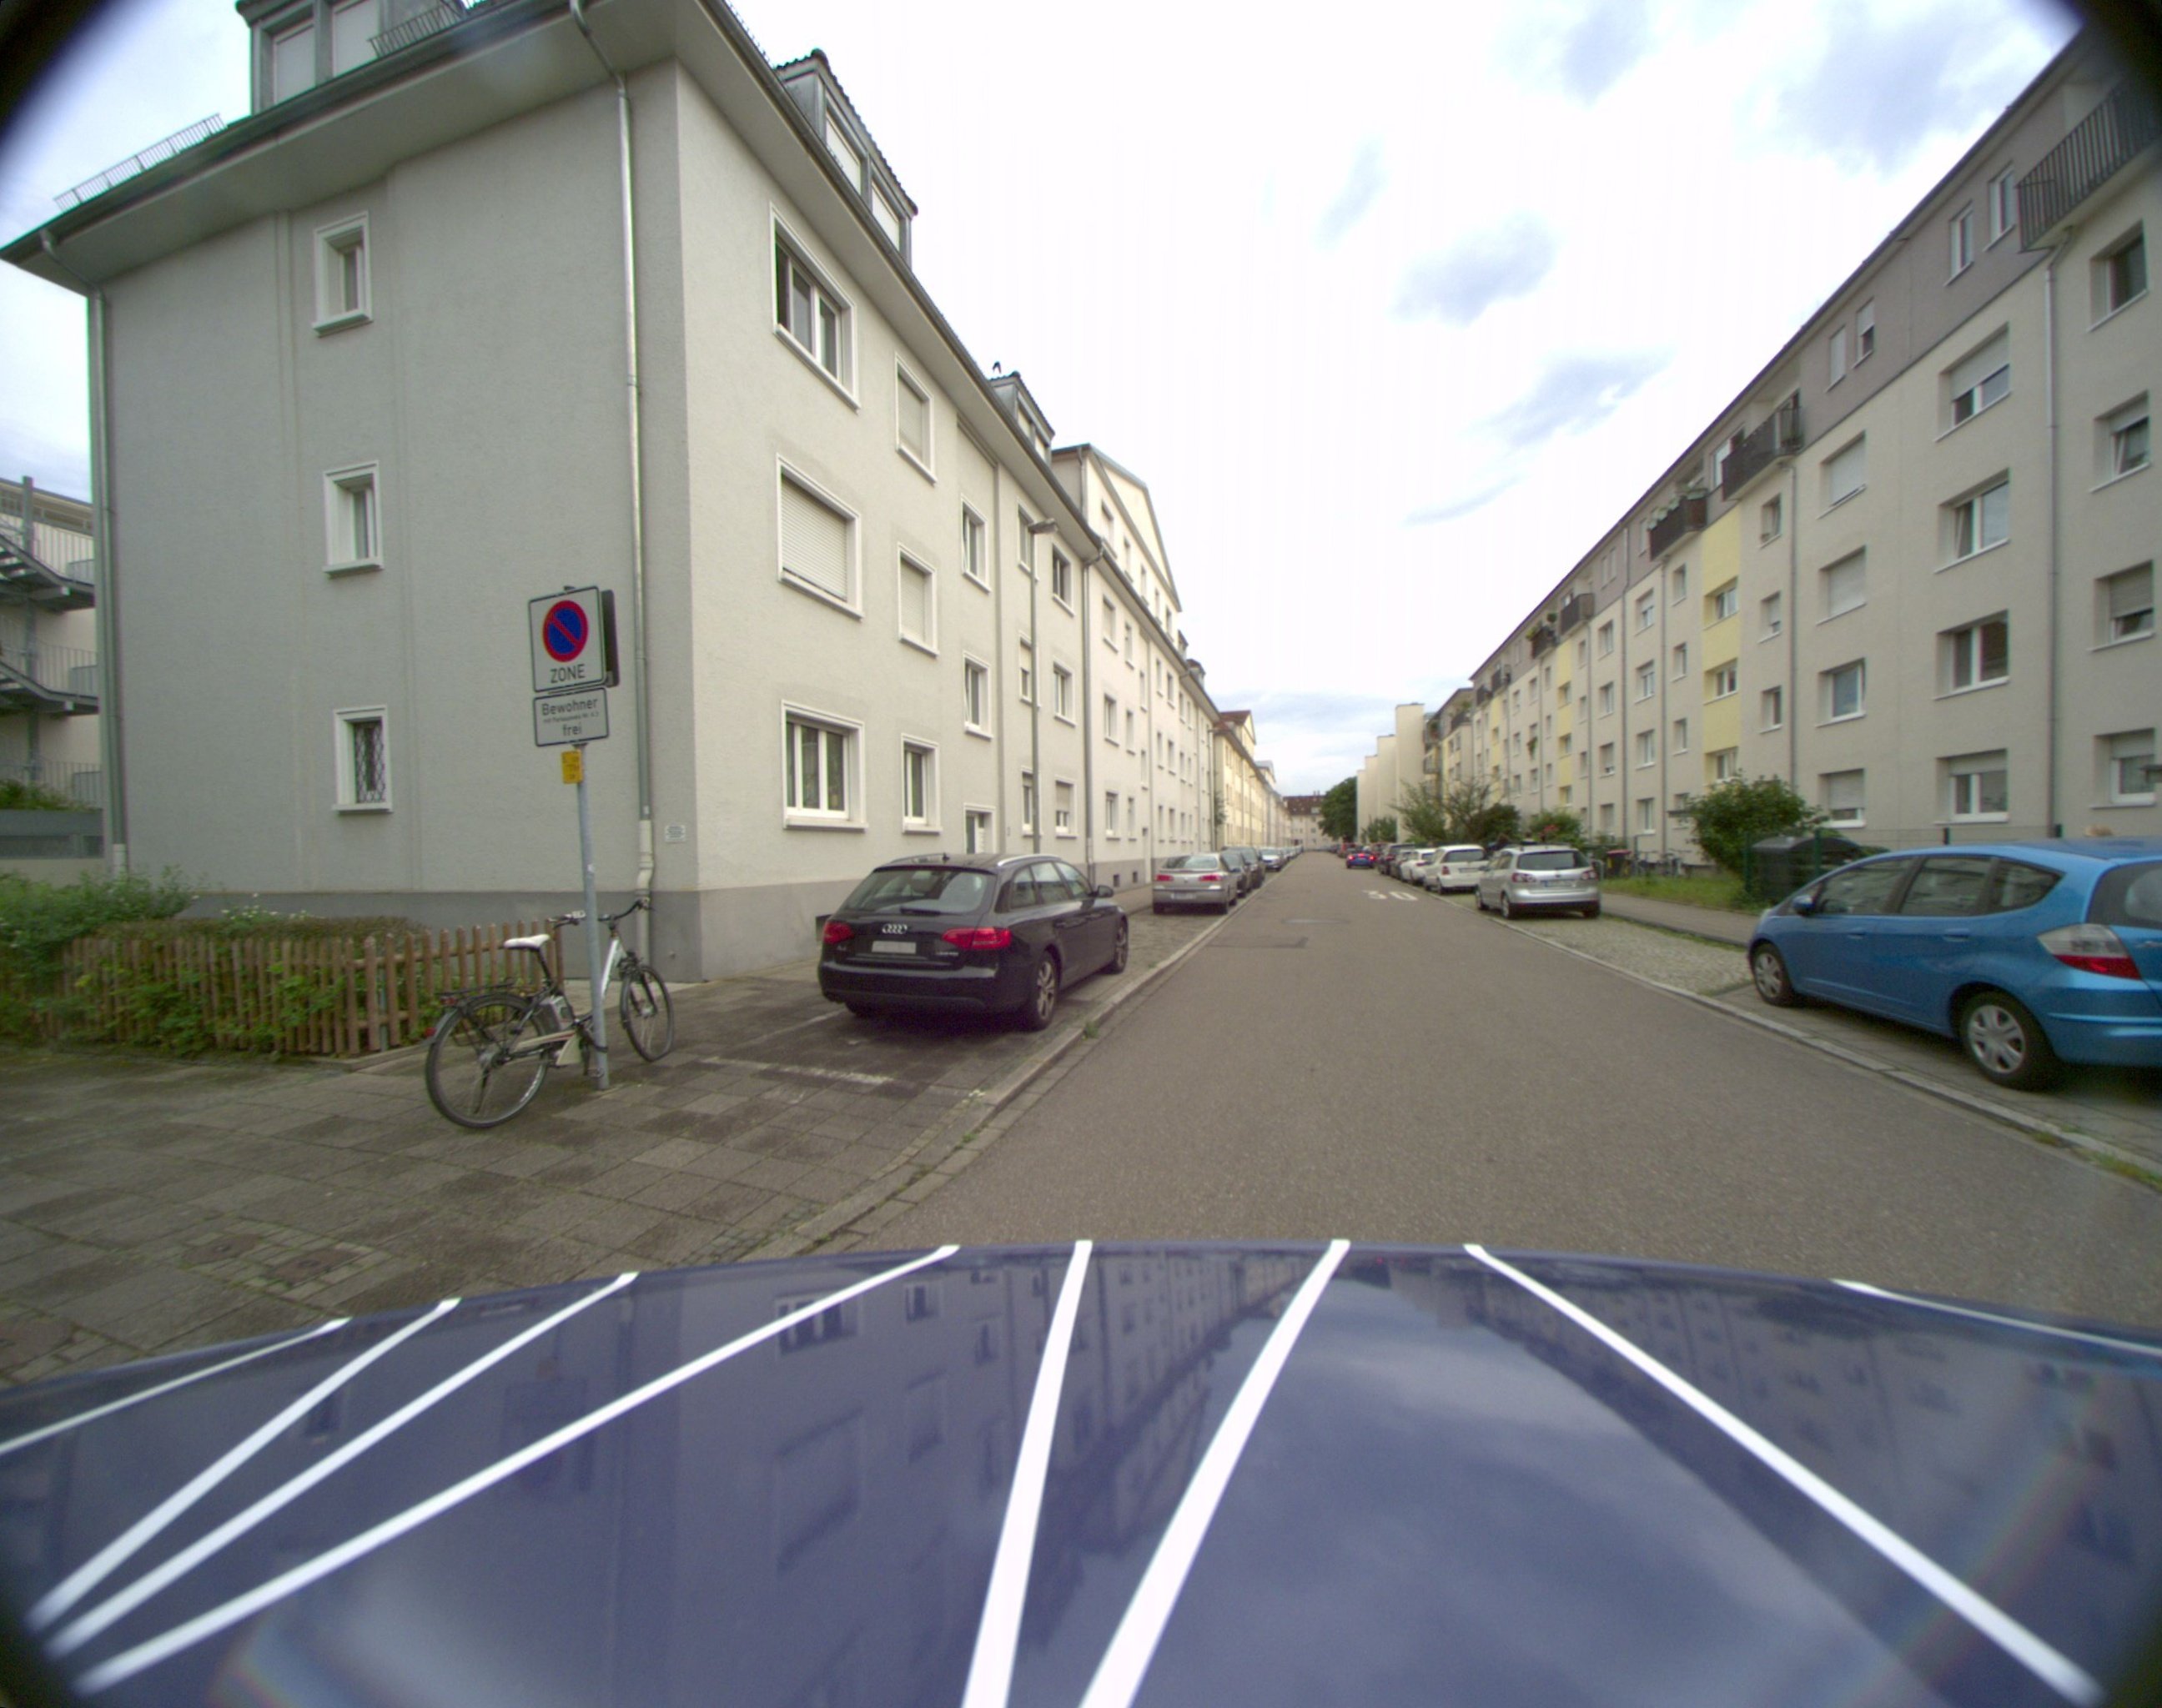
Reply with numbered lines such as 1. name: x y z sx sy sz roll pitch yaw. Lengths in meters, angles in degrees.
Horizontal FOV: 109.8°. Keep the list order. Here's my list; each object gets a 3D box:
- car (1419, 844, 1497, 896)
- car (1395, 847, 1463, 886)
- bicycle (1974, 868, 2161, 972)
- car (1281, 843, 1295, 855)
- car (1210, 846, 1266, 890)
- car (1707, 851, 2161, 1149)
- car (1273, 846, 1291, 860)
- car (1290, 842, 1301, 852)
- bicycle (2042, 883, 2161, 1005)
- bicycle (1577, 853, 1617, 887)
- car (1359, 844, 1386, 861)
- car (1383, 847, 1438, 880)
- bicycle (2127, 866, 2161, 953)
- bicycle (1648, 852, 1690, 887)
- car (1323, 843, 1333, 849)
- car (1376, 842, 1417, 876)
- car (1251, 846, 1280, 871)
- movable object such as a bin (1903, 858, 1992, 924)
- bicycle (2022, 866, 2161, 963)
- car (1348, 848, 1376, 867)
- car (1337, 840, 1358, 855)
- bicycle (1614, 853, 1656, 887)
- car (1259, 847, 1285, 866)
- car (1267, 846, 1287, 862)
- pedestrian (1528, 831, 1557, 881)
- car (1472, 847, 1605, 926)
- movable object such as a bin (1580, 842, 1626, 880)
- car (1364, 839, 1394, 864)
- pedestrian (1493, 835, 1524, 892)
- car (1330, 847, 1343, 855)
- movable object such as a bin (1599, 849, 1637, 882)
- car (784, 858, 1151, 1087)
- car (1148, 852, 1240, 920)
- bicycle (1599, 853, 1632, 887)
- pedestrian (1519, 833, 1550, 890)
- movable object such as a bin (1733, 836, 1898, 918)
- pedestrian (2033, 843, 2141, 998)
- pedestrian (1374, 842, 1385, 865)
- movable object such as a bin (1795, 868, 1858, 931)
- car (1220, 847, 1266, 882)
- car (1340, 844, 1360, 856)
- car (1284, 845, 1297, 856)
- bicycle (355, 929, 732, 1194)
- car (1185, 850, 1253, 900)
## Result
1. car: 12.735 0.497 25.861 1.687 1.629 3.731 -1 1 16
2. car: 14.209 0.472 31.276 1.720 1.501 4.692 -1 0 14
3. bicycle: 11.962 0.723 9.073 0.658 1.062 2.124 -1 0 18
4. car: 25.849 -0.586 94.821 1.735 1.443 4.222 0 0 15
5. car: 6.214 0.487 29.760 1.850 1.589 4.164 0 0 15
6. car: 6.748 0.764 5.691 1.733 1.454 3.961 -3 0 17
7. car: 20.242 -0.100 76.461 1.735 1.363 4.222 0 0 15
8. car: 37.278 -1.159 131.967 1.735 1.670 3.596 0 1 15
9. bicycle: 10.666 0.874 7.550 0.536 1.113 1.821 -1 0 22
10. bicycle: 16.305 0.482 24.049 0.488 1.018 1.881 -1 1 17
11. car: 24.685 -0.119 64.467 1.704 1.436 3.546 -1 0 14
12. car: 15.631 0.410 36.267 1.727 1.445 4.487 -1 1 14
13. bicycle: 13.499 0.695 8.681 0.658 1.064 2.178 -1 0 18
14. bicycle: 18.025 0.459 23.307 0.420 1.018 1.561 -1 1 14
15. car: 61.008 -1.961 187.748 1.743 1.534 3.641 -1 0 11
16. car: 17.377 0.246 42.043 1.573 1.769 4.457 -1 0 16
17. car: 12.125 0.251 49.770 1.735 1.538 3.681 0 1 15
18. movable object such as a bin: 15.105 0.628 13.267 0.843 1.110 0.599 -1 1 15
19. bicycle: 12.807 0.702 9.218 0.658 1.064 2.178 -1 0 18
20. car: 19.821 0.243 53.731 1.677 1.307 3.913 -1 0 18
21. car: 36.116 -0.848 103.056 2.185 2.020 4.427 -1 0 14
22. bicycle: 17.184 0.482 23.587 0.479 1.018 1.757 -1 1 16
23. car: 14.685 0.172 58.319 1.734 1.418 4.222 0 0 16
24. car: 17.871 -0.015 69.114 1.735 1.402 4.222 0 0 15
25. pedestrian: 15.372 0.072 25.325 0.615 1.647 0.804 -1 0 17
26. car: 10.165 0.652 17.190 1.656 1.541 3.920 -2 0 17
27. movable object such as a bin: 19.476 0.248 28.373 1.058 1.367 1.190 -1 2 12
28. car: 22.925 -0.199 58.524 1.704 1.796 3.546 -1 0 14
29. pedestrian: 14.294 0.322 25.422 0.641 1.852 0.975 -3 0 17
30. car: 47.108 -0.537 140.022 1.743 1.534 3.641 -1 0 11
31. movable object such as a bin: 19.302 0.409 27.313 0.870 1.103 0.788 -1 2 13
32. car: -0.639 0.811 7.600 1.863 1.454 4.731 0 1 15
33. car: 2.940 0.703 18.933 1.735 1.454 4.435 0 0 15
34. bicycle: 16.733 0.494 23.811 0.356 1.018 1.499 -1 1 16
35. pedestrian: 14.831 0.236 24.882 0.707 1.843 0.764 -1 1 17
36. movable object such as a bin: 13.495 0.411 14.079 1.591 1.412 1.673 -1 0 16
37. pedestrian: 10.404 0.666 7.876 0.447 1.540 0.568 -1 0 22
38. pedestrian: 21.228 -0.024 54.022 0.602 1.657 0.623 -1 1 14
39. movable object such as a bin: 12.647 0.758 12.902 0.537 1.027 0.599 -1 1 16
40. car: 7.446 0.437 34.680 1.734 1.478 3.761 0 1 17
41. car: 34.365 -0.534 97.068 2.010 1.436 4.202 -1 0 14
42. car: 28.720 -0.533 104.198 1.735 1.443 4.222 0 0 15
43. bicycle: -3.060 1.098 4.623 0.568 0.998 1.890 1 3 17
44. car: 4.539 0.618 24.545 1.784 1.454 4.327 0 0 15
